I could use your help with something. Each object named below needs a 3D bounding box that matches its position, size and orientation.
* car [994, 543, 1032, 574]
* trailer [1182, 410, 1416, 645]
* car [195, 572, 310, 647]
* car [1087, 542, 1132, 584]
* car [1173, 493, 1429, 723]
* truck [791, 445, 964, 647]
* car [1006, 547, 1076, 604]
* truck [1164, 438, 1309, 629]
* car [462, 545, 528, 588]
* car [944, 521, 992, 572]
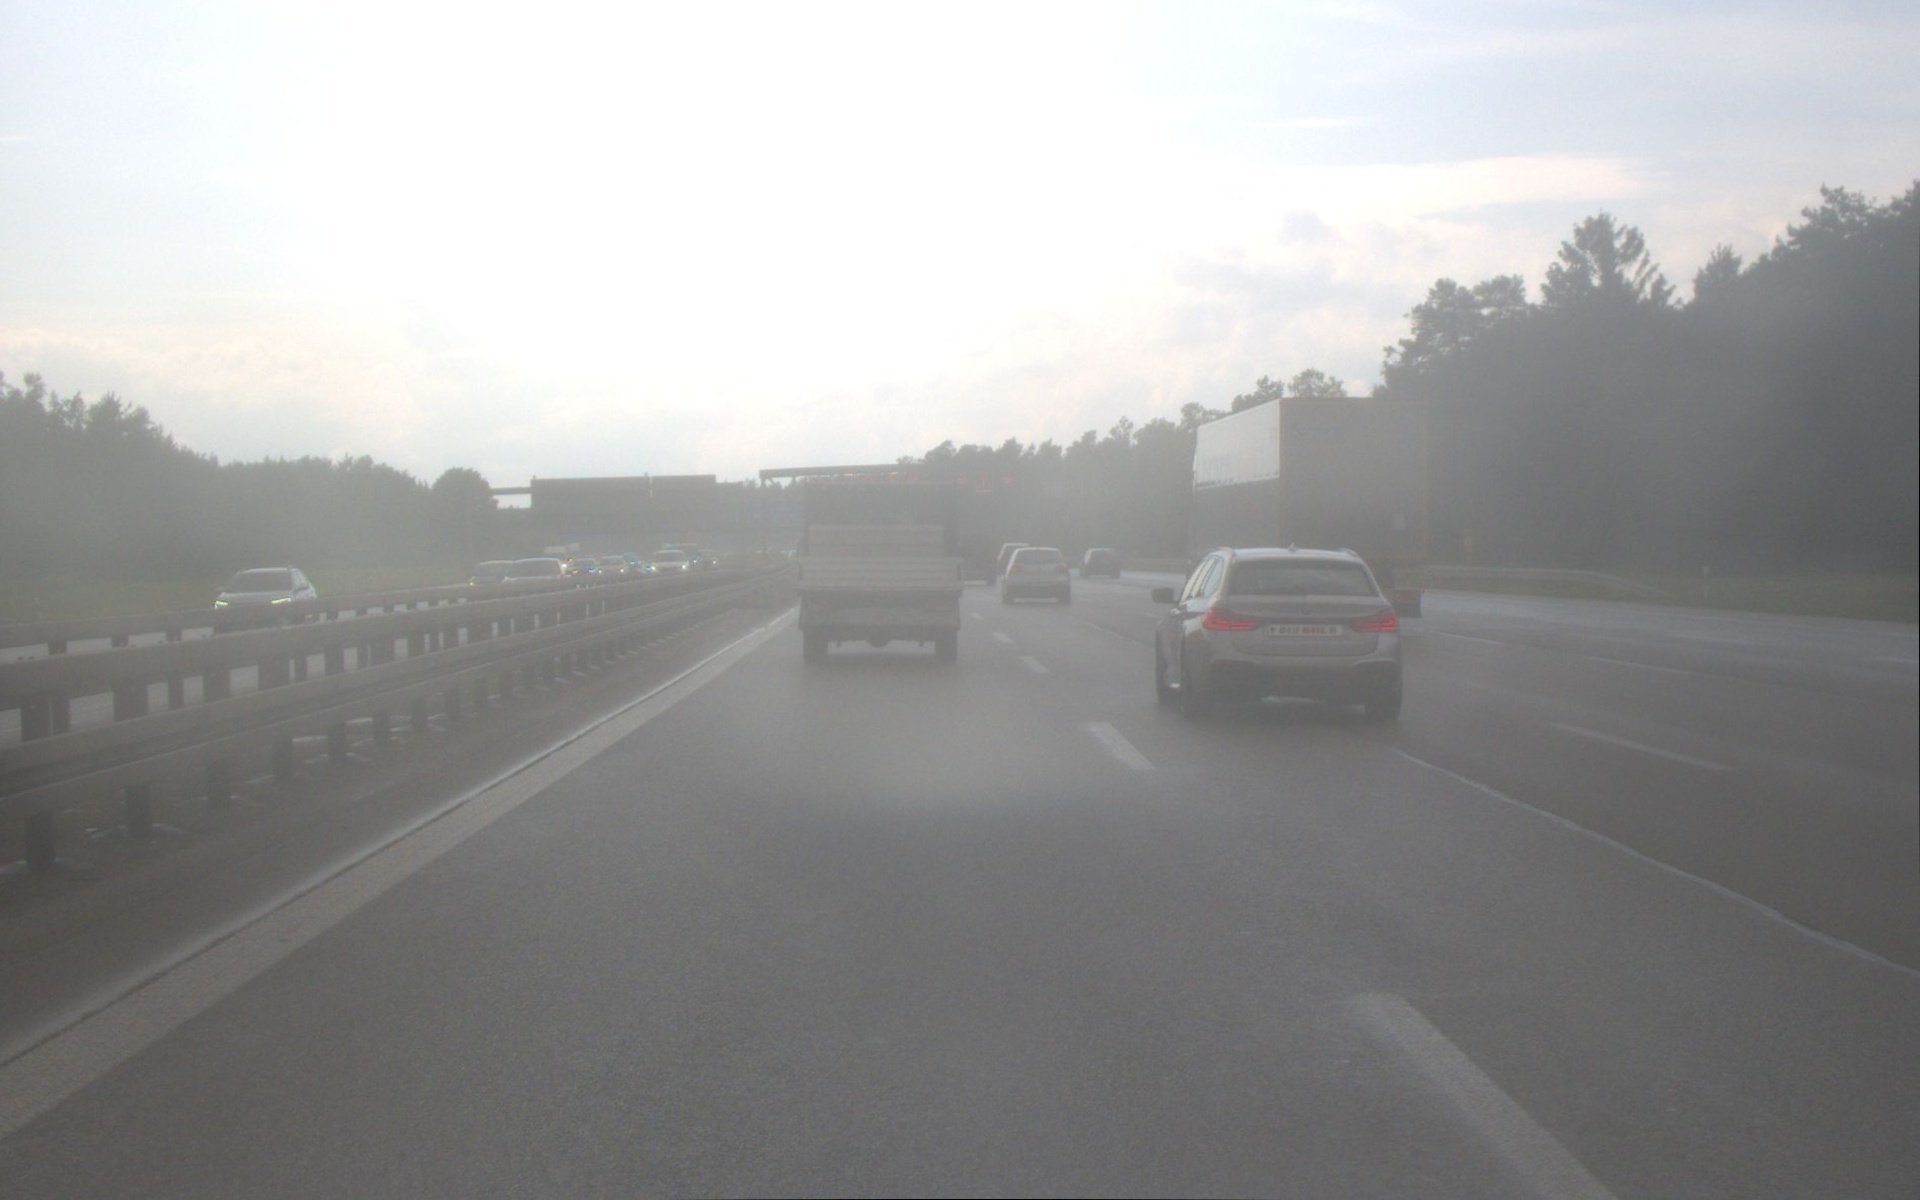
[{"bbox_3d":[2.892,-2.259,188.307,1.740,1.683,4.001,0,1,-3],"label":"car"},{"bbox_3d":[6.181,-1.334,64.992,2.323,3.988,13.414,0,1,-3],"label":"trailer"},{"bbox_3d":[-14.993,0.172,73.025,1.728,1.476,4.001,-2,1,-2],"label":"car"},{"bbox_3d":[7.272,-1.815,167.244,1.993,2.007,4.000,1,1,0],"label":"car"},{"bbox_3d":[2.961,0.020,30.739,2.078,1.878,5.011,0,1,4],"label":"car"},{"bbox_3d":[-1.056,-0.718,45.098,2.137,2.480,5.313,0,1,-1],"label":"truck"},{"bbox_3d":[2.149,-0.670,92.015,1.831,1.461,4.000,0,1,1],"label":"car"},{"bbox_3d":[5.762,-1.398,72.293,2.293,3.854,5.393,-1,1,-3],"label":"truck"},{"bbox_3d":[-16.681,-1.208,123.487,1.811,1.417,4.237,-3,1,-2],"label":"car"},{"bbox_3d":[0.321,-2.170,138.252,1.908,2.007,4.000,0,1,0],"label":"car"}]
